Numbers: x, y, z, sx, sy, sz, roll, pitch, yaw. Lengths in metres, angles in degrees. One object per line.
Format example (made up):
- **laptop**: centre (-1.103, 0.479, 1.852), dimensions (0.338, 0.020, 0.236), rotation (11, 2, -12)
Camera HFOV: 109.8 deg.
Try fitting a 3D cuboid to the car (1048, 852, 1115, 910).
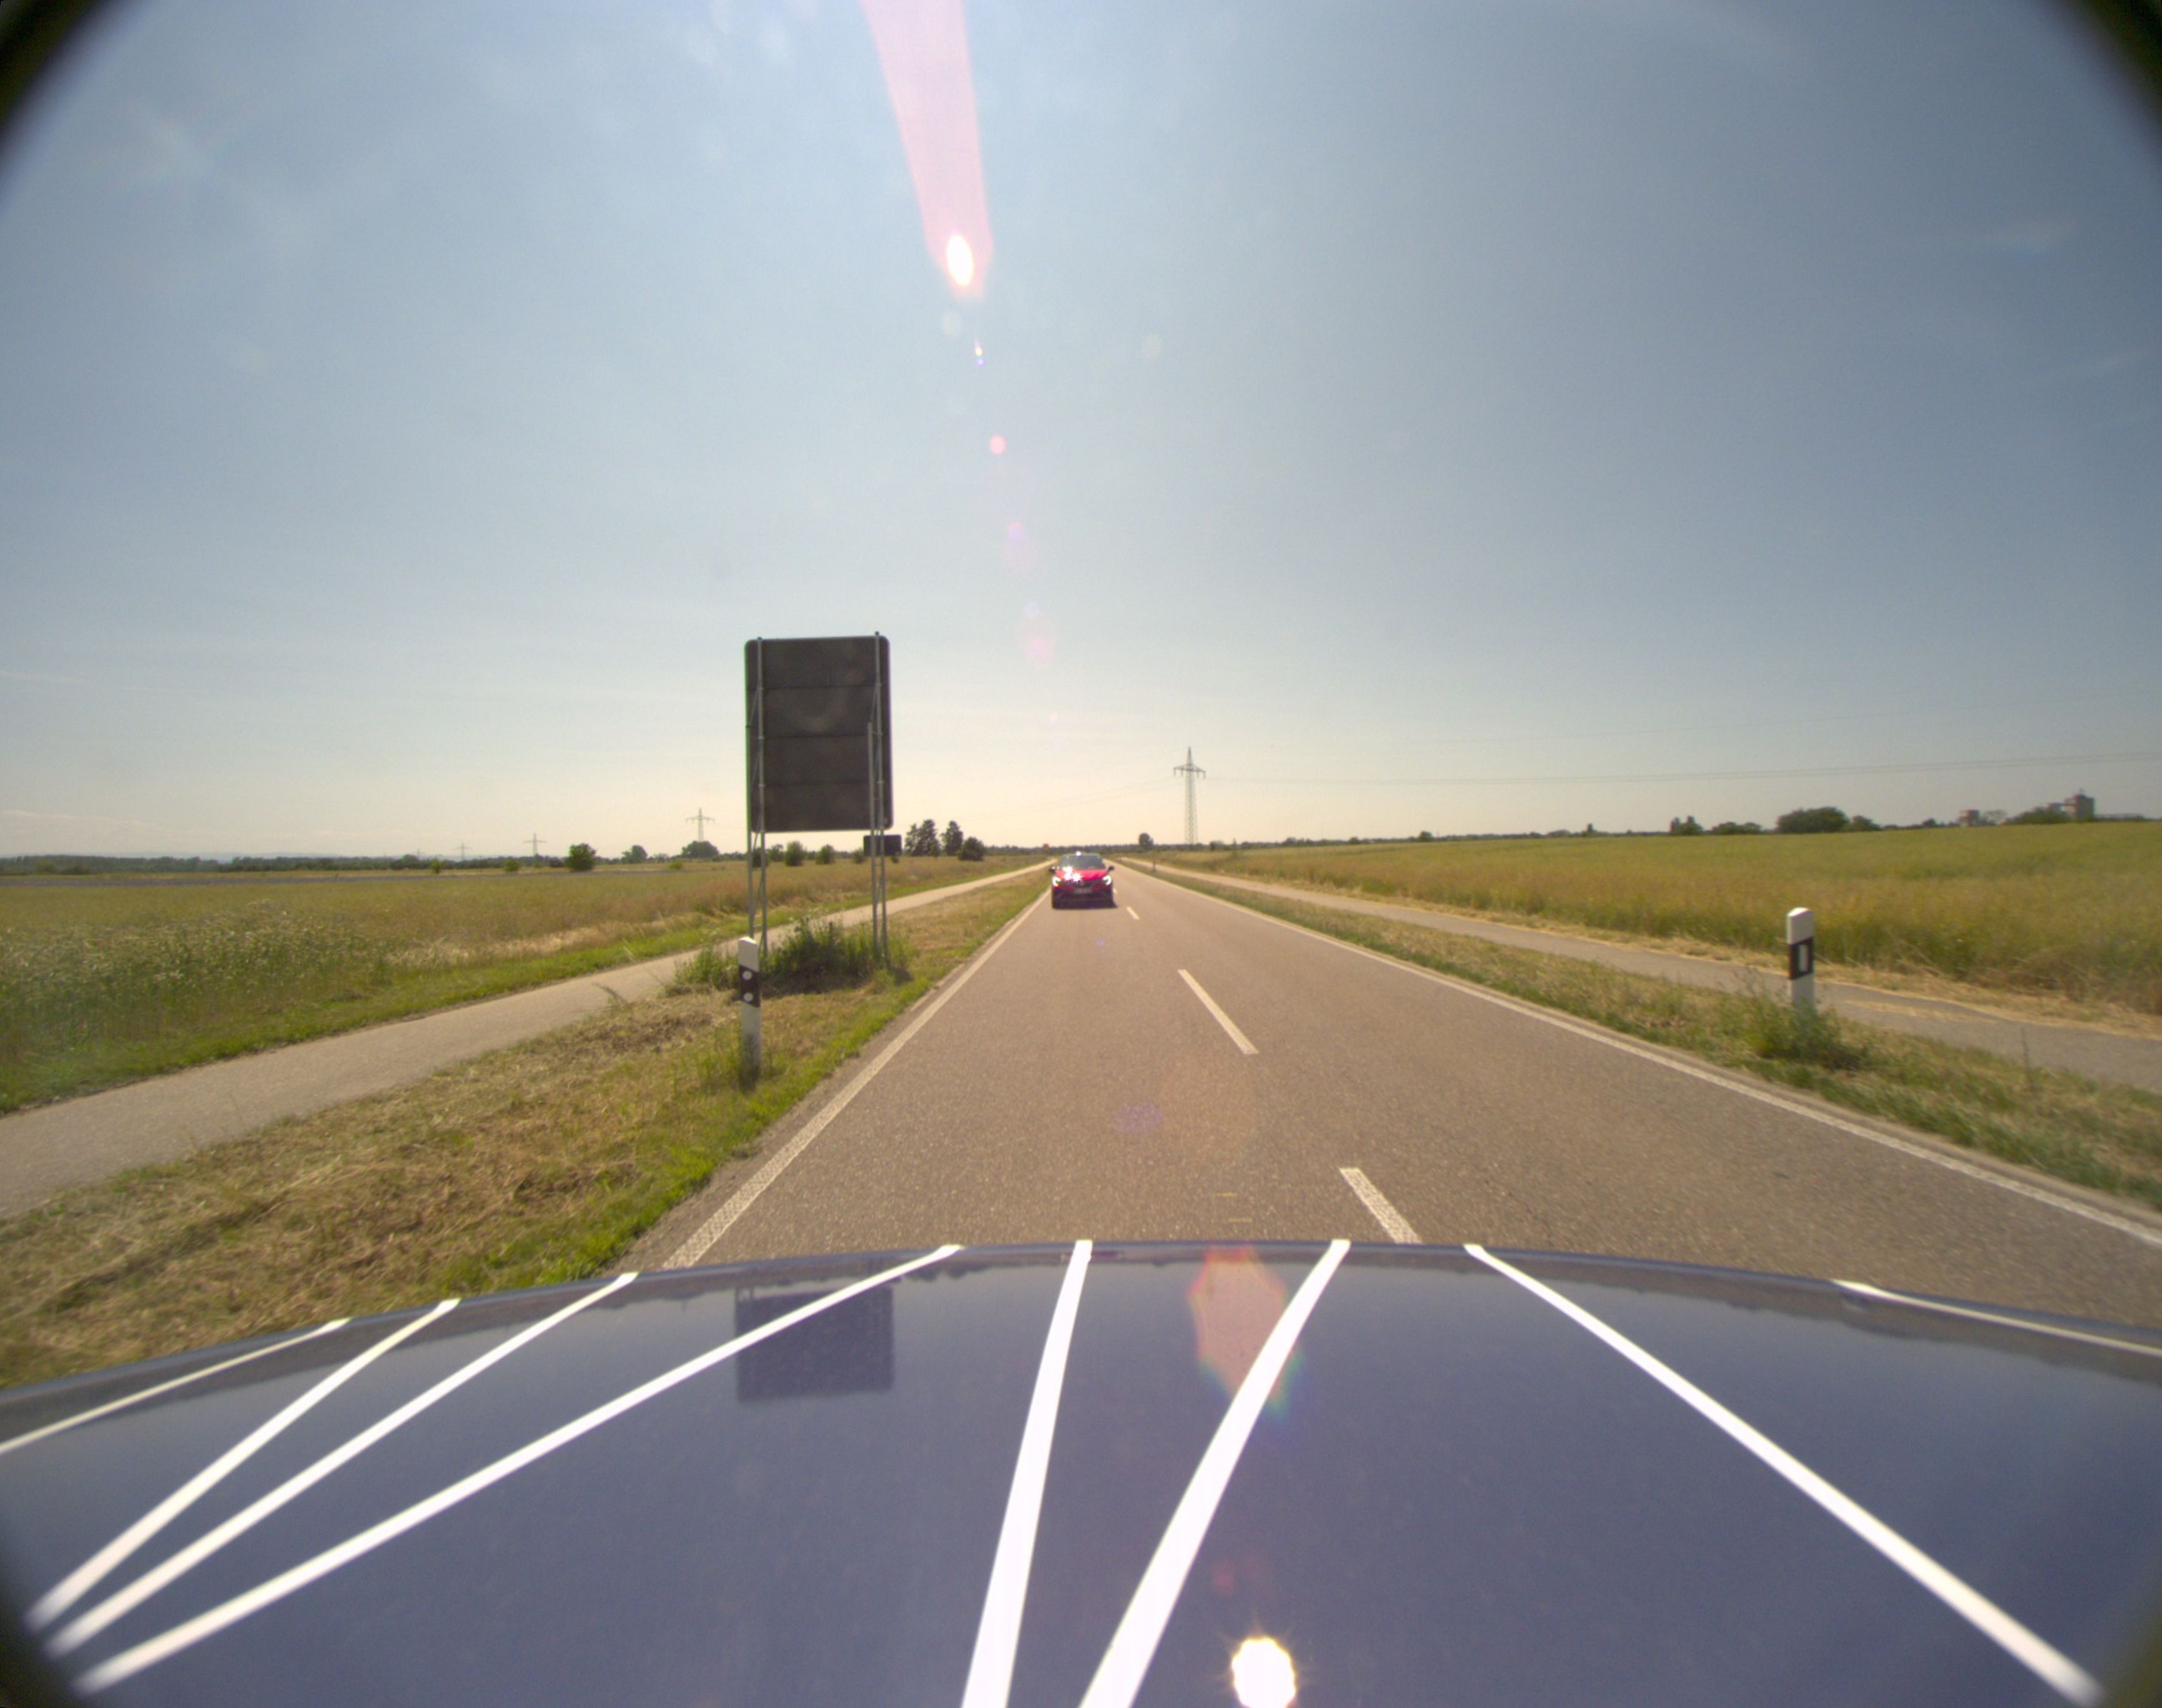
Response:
- **car**: centre (0.068, 0.769, 23.802), dimensions (1.826, 1.543, 4.449), rotation (-2, 1, 1)
